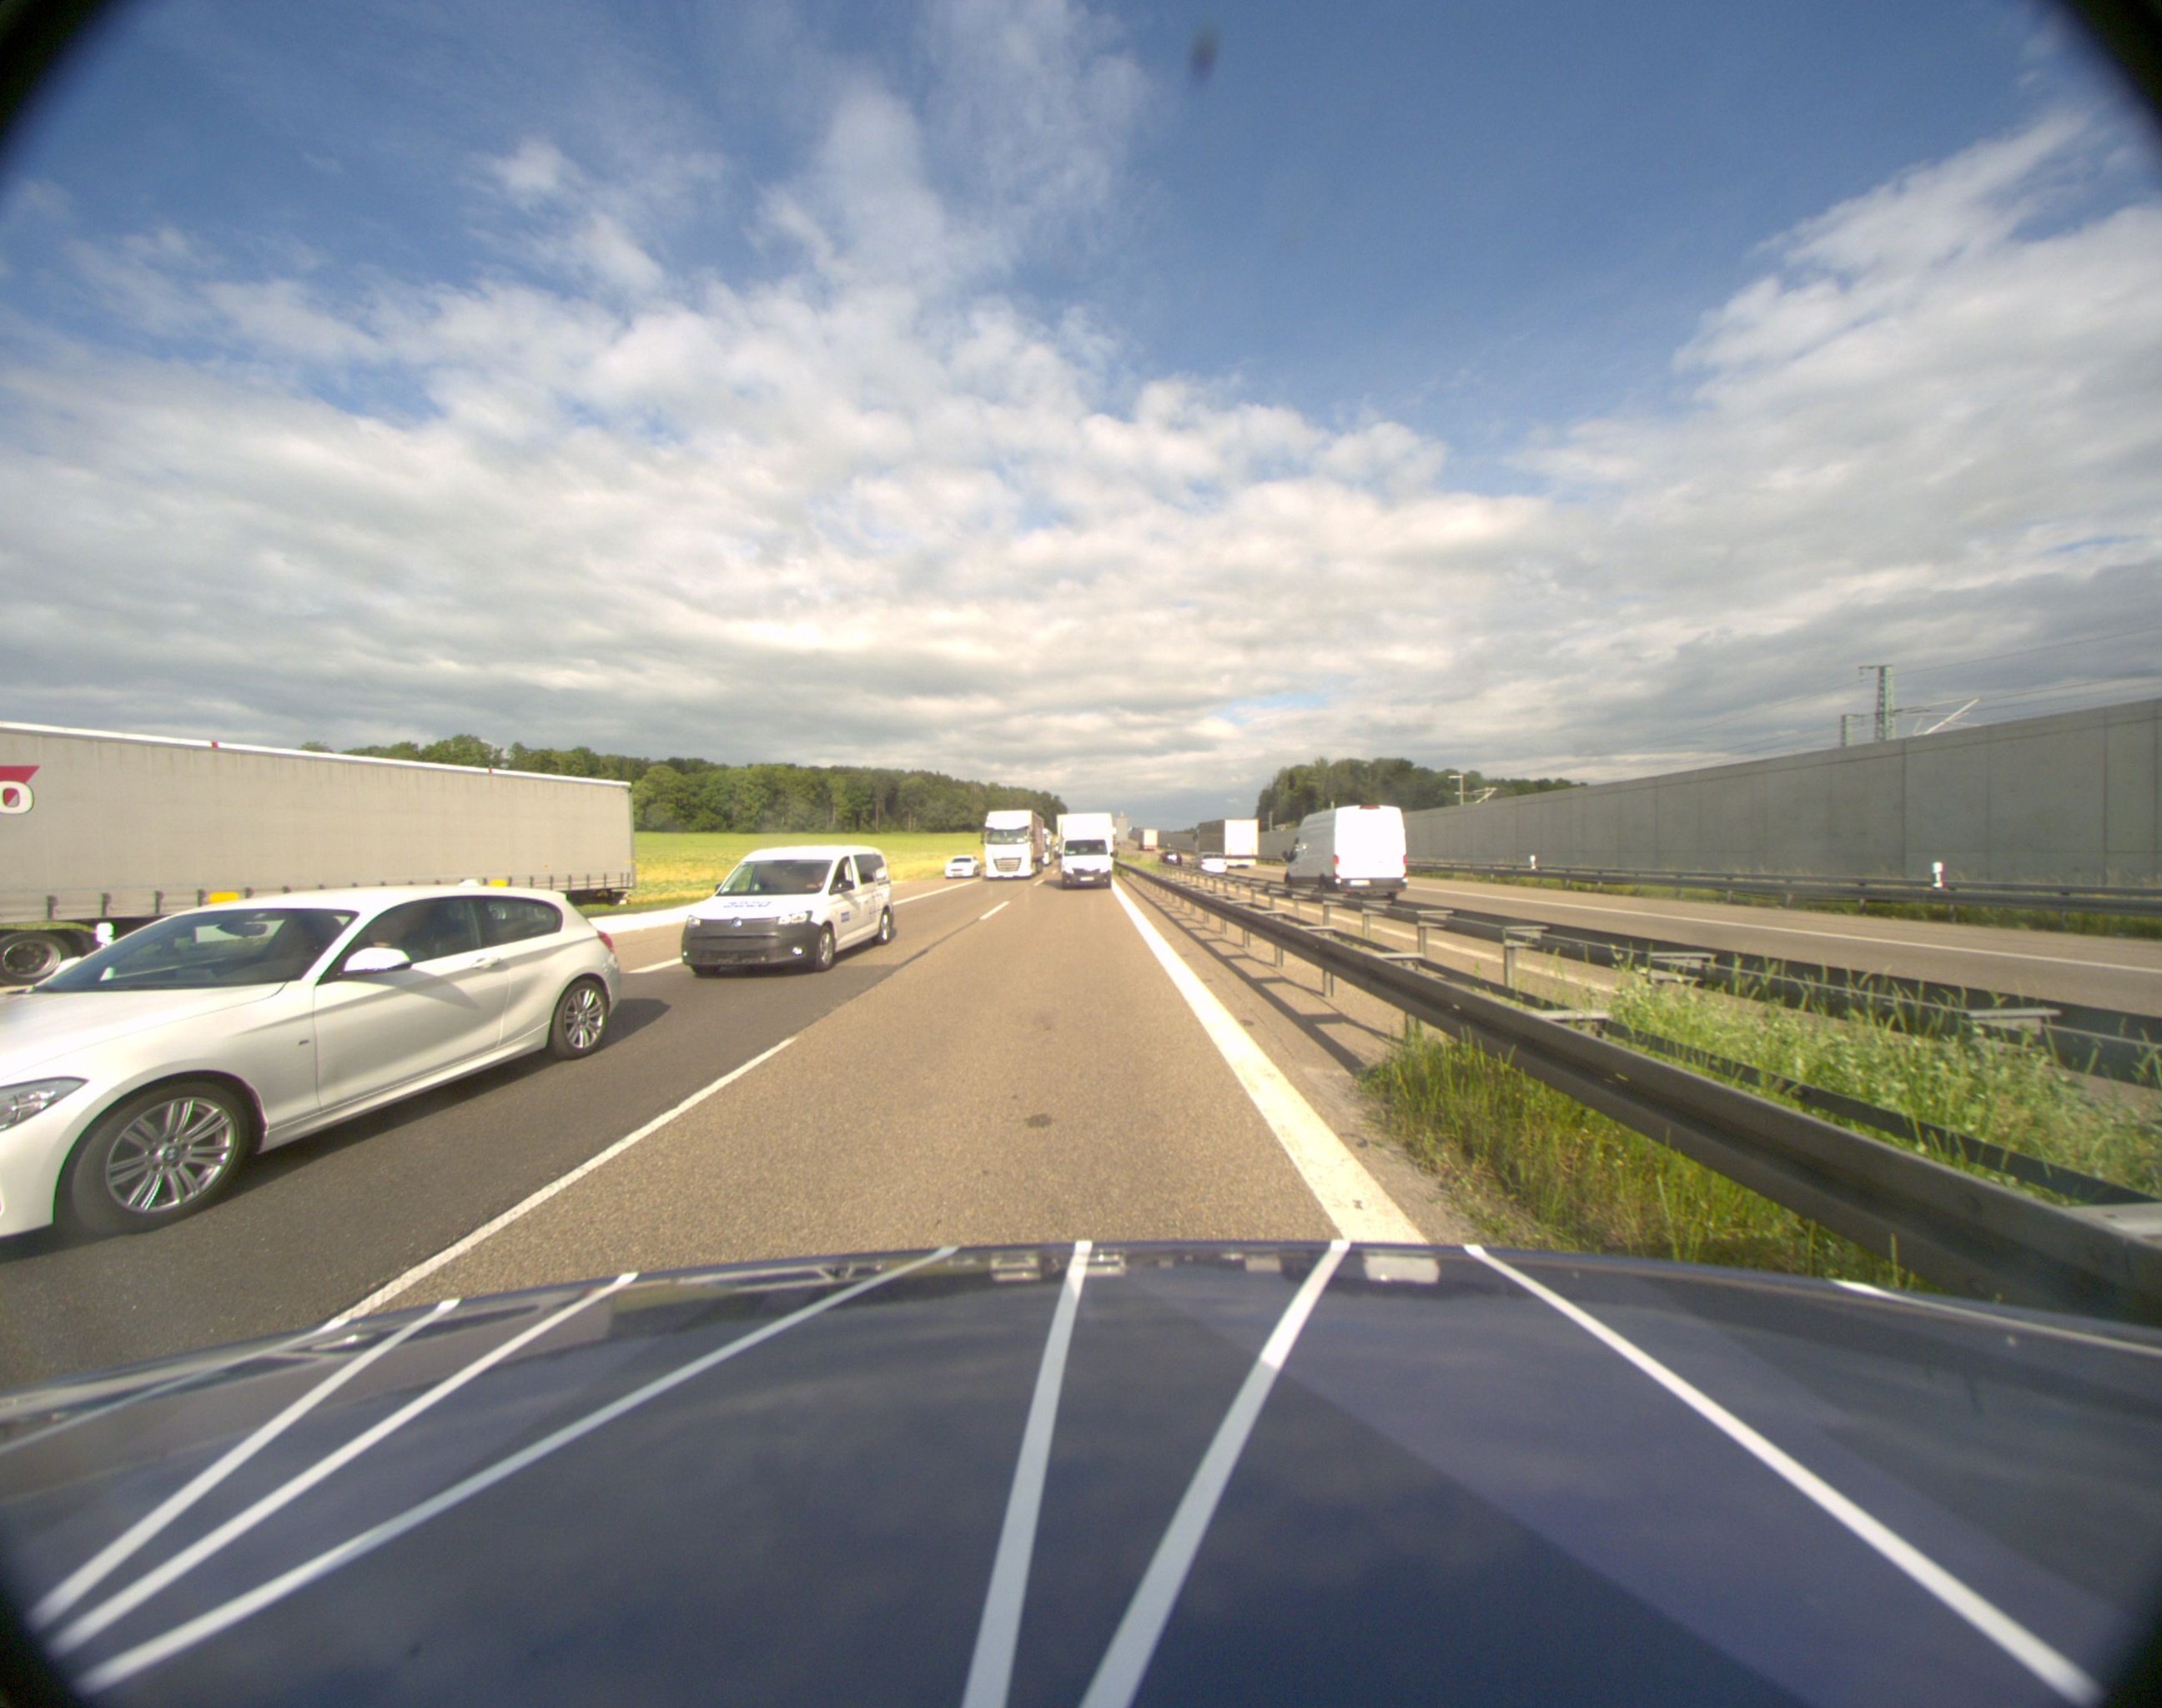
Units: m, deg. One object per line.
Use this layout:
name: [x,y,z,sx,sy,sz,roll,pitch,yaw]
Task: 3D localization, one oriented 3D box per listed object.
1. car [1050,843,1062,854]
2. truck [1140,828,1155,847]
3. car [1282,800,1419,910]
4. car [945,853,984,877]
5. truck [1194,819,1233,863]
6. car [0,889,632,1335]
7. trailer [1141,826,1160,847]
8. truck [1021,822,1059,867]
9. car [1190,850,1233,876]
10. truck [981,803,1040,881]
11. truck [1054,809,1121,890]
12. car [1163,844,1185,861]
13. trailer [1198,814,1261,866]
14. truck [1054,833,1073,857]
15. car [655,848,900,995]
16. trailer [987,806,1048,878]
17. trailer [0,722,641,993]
car: [-4.224,-0.962,128.009,1.707,1.746,4.676,-3,0,1]
truck: [14.103,-3.489,161.606,2.692,4.045,5.878,-1,1,1]
car: [7.844,0.004,22.828,2.109,2.854,5.636,-1,1,0]
car: [-7.684,0.678,50.580,1.871,1.424,4.629,-2,0,-1]
truck: [12.589,-1.216,72.826,2.783,4.064,5.531,1,1,0]
car: [-4.808,1.061,4.486,1.708,1.424,4.232,-2,0,1]
trailer: [14.044,-3.435,154.591,2.690,4.014,13.790,-1,0,0]
truck: [-3.989,-0.915,76.798,2.946,4.094,12.523,-1,1,0]
car: [7.804,0.489,45.669,1.878,1.443,4.232,-1,1,1]
truck: [-4.027,-0.715,44.565,2.736,4.150,5.766,-2,1,0]
truck: [0.296,-0.212,35.671,2.500,3.082,12.037,-2,0,0]
car: [8.406,-0.169,68.854,1.655,1.443,3.956,-1,1,3]
trailer: [12.572,-1.138,65.552,2.797,4.054,13.518,0,1,0]
truck: [-3.161,-1.671,140.562,2.946,4.094,16.207,-1,0,0]
car: [-4.299,0.813,11.704,1.729,1.746,4.702,-3,0,1]
trailer: [-3.982,-0.840,51.218,2.742,4.137,14.016,-2,1,0]
trailer: [-16.512,0.035,16.562,2.739,4.136,13.843,-2,0,15]
